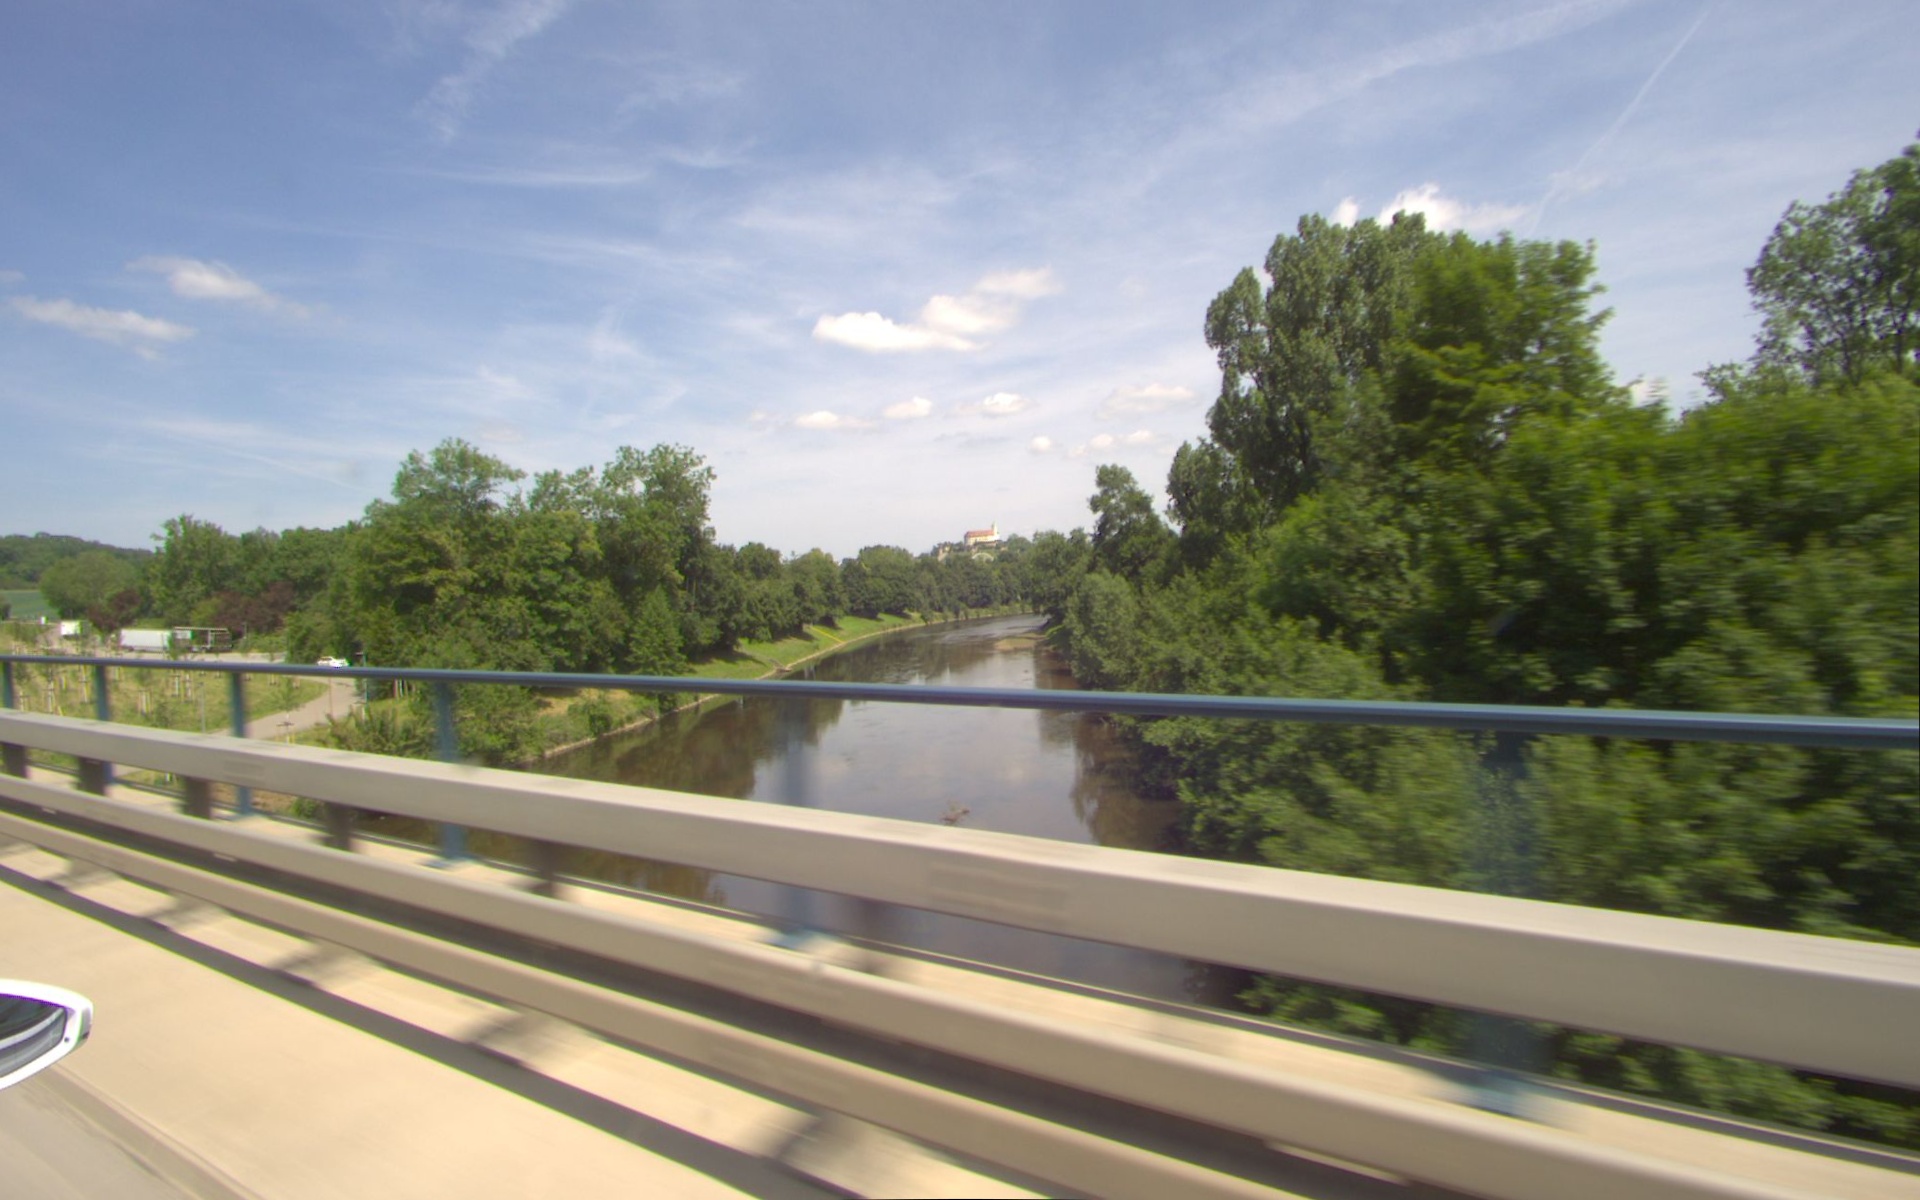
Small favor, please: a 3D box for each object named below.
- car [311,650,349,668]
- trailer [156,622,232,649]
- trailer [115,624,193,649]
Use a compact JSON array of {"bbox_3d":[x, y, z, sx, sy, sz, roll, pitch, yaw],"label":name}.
[{"bbox_3d":[-66.959,6.246,106.445,4.548,1.503,1.850,0,3,37],"label":"car"},{"bbox_3d":[-110.910,5.114,144.937,11.685,3.653,2.723,0,-1,20],"label":"trailer"},{"bbox_3d":[-115.299,5.168,143.205,11.680,3.371,2.723,0,0,18],"label":"trailer"}]
